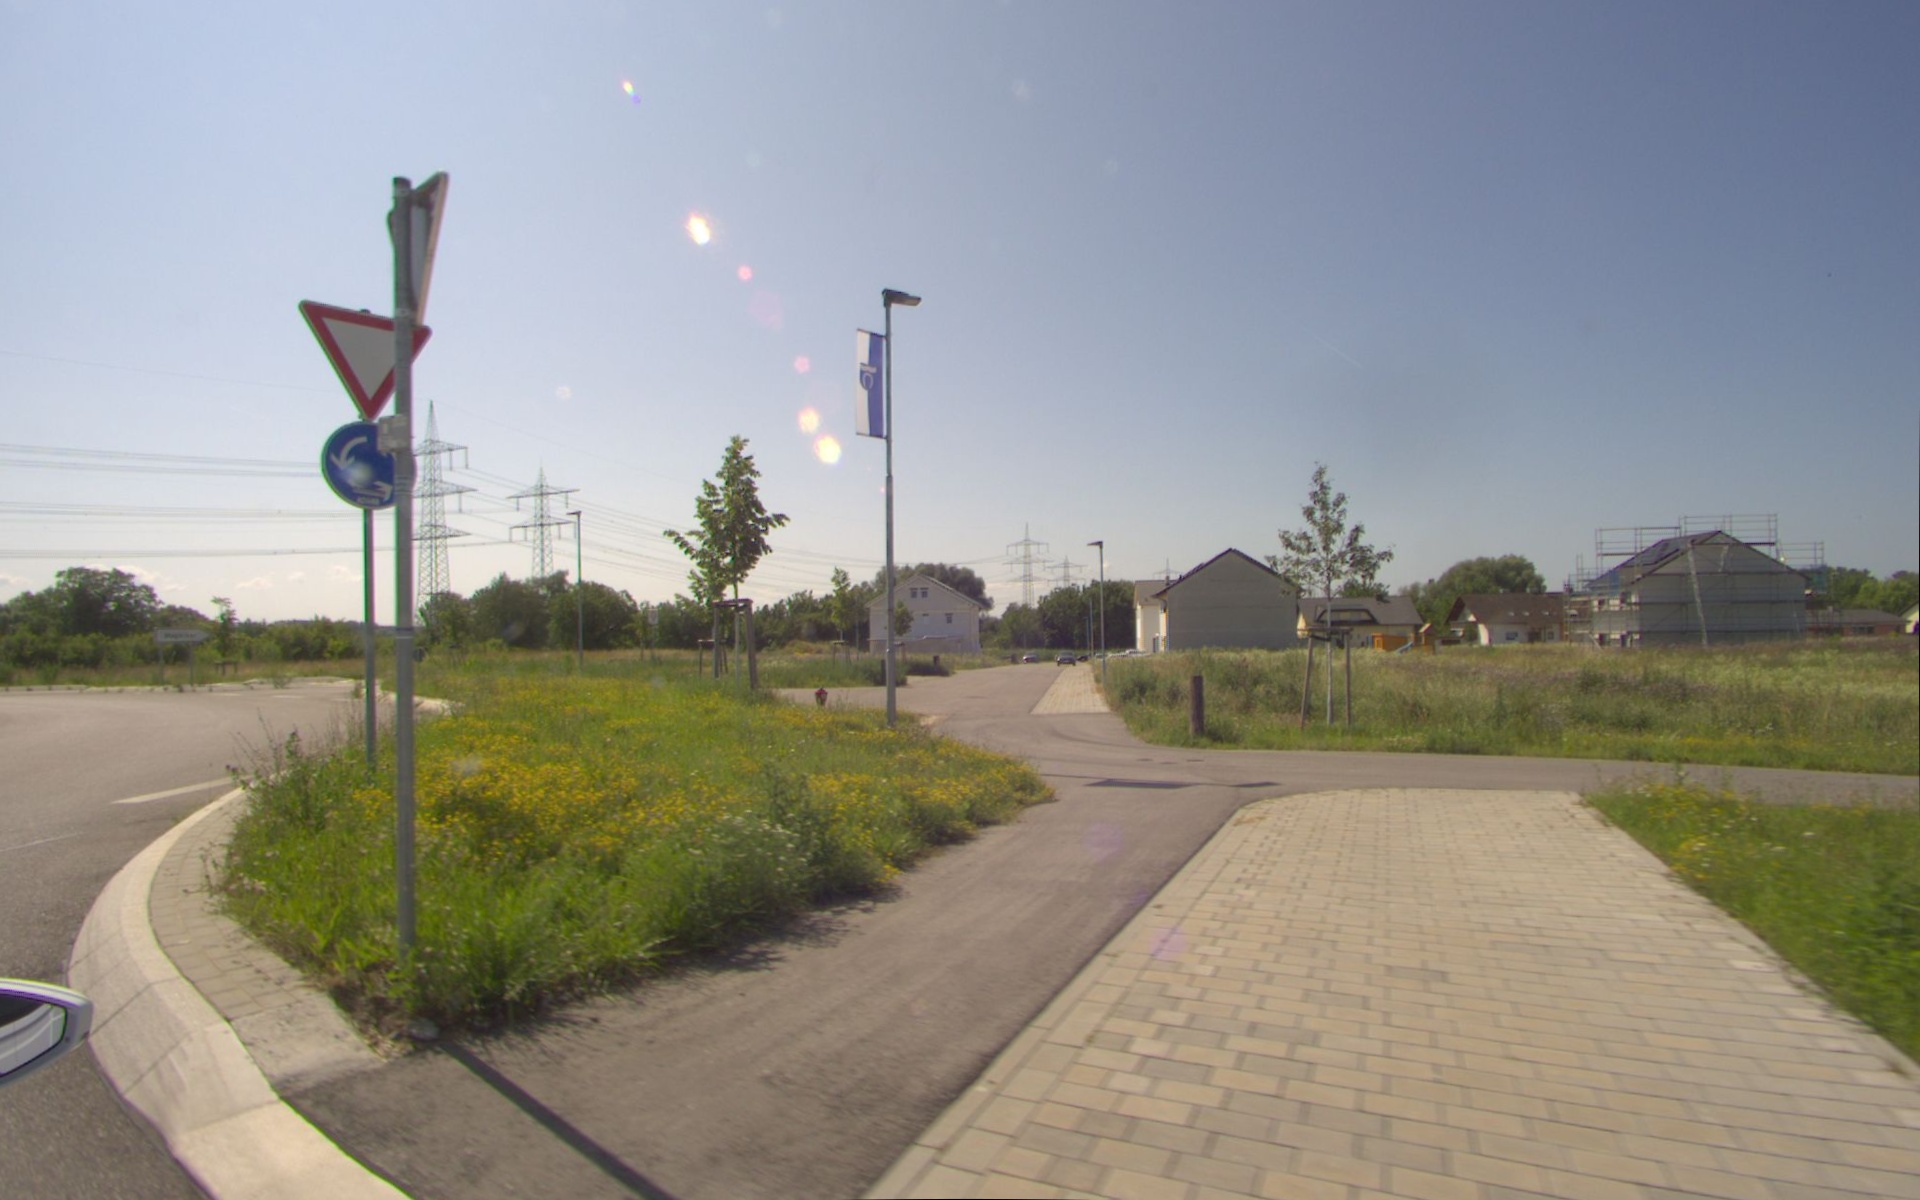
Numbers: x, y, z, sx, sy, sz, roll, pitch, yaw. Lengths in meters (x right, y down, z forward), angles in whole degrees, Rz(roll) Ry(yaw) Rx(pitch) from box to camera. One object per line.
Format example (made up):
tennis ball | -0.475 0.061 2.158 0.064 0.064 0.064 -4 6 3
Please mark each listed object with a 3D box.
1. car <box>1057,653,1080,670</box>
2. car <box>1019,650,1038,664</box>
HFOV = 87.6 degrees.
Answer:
car | 10.594 6.001 97.584 1.651 1.682 3.485 -1 -4 17
car | 8.642 7.119 125.384 1.651 1.682 3.485 -1 -4 17
